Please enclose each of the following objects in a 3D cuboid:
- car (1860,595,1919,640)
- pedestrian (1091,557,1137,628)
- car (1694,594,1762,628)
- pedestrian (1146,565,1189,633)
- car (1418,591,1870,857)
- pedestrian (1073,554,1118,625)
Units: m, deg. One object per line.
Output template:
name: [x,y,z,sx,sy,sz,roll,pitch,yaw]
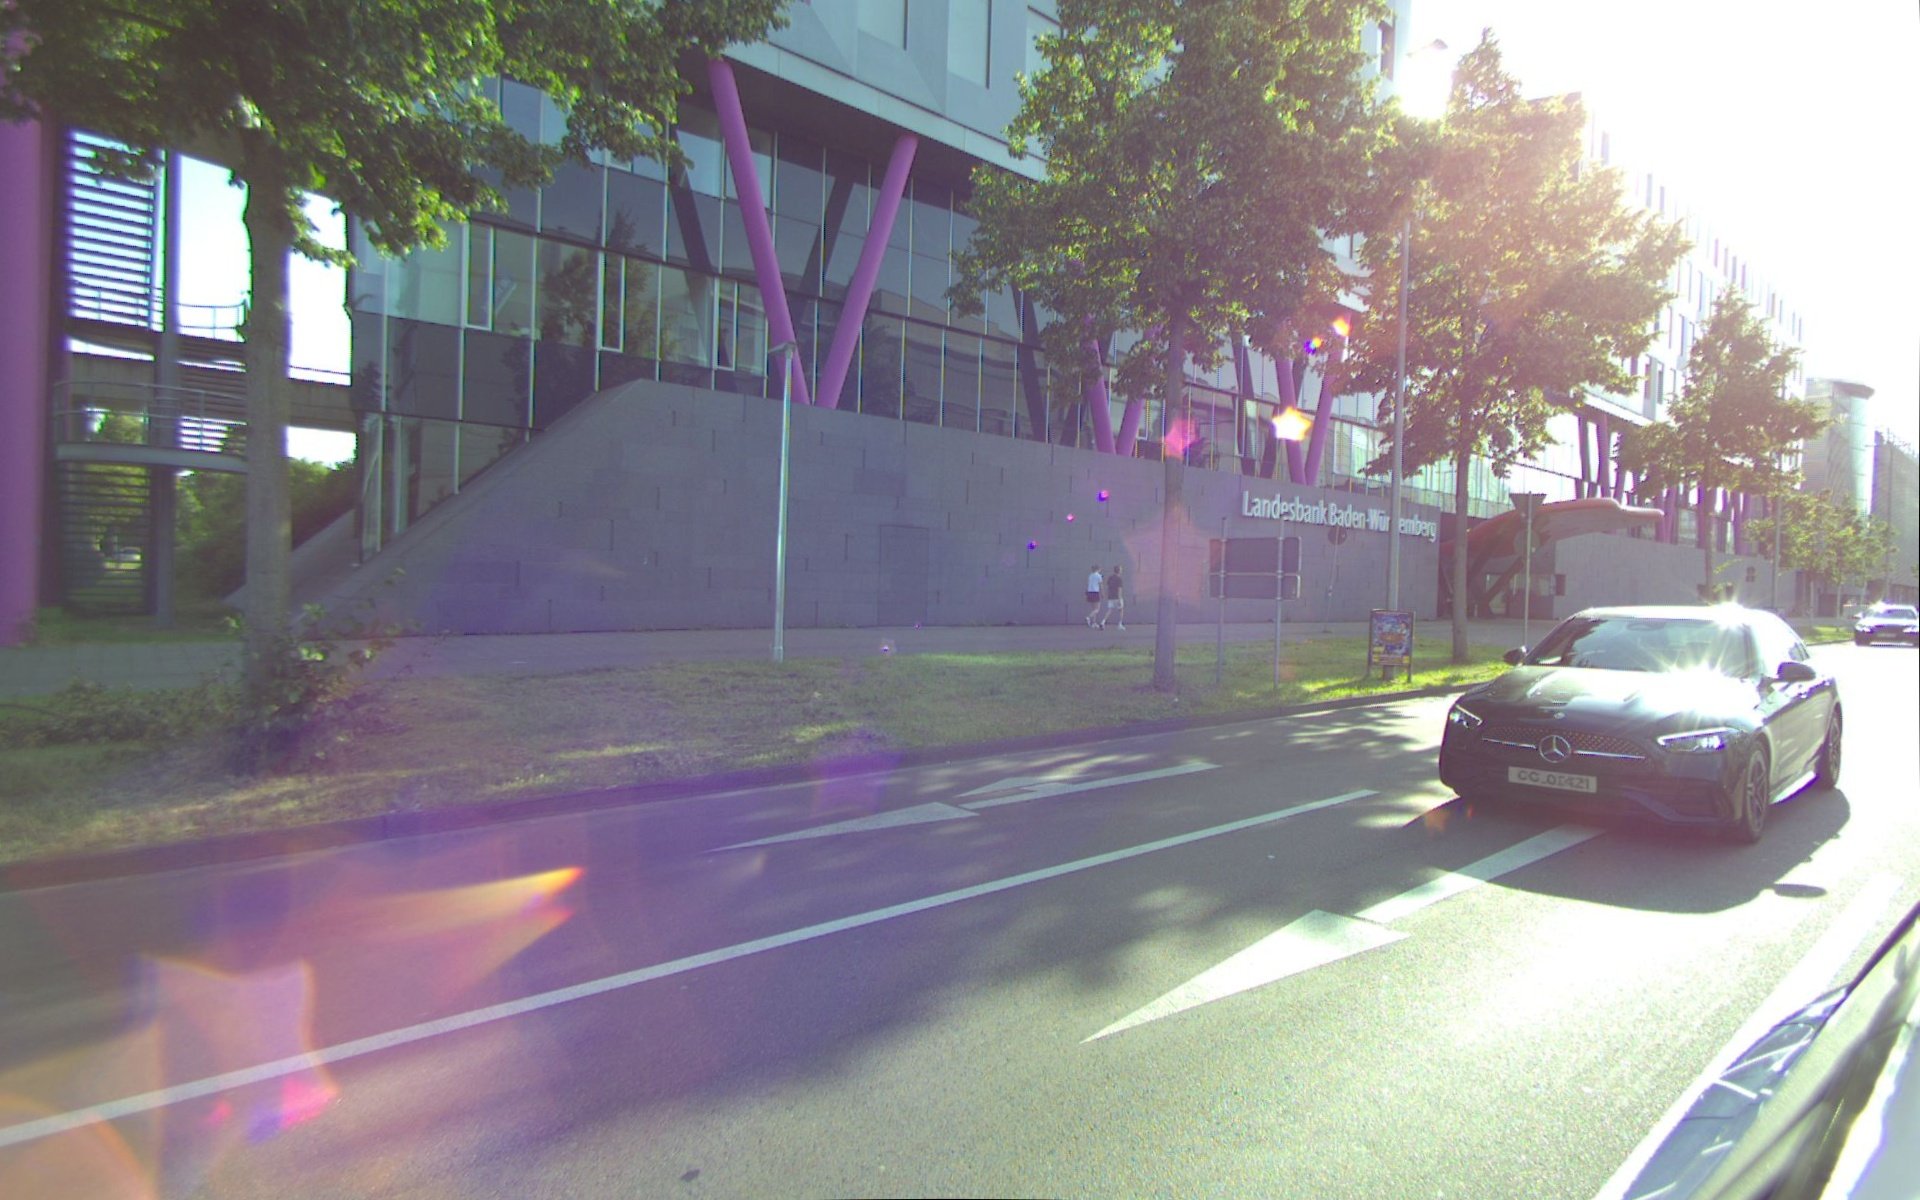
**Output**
car: [34.110,0.603,36.870,1.888,1.444,4.407,1,2,41]
pedestrian: [4.104,-0.203,26.995,0.829,1.815,0.756,1,3,-41]
car: [34.828,0.492,45.883,4.126,1.407,1.694,1,1,-42]
pedestrian: [5.195,-0.036,25.339,0.724,1.658,0.695,1,3,-41]
car: [5.469,0.712,7.831,4.476,1.468,1.842,1,0,-41]
pedestrian: [3.689,-0.288,27.520,0.838,1.847,0.769,1,3,-41]
